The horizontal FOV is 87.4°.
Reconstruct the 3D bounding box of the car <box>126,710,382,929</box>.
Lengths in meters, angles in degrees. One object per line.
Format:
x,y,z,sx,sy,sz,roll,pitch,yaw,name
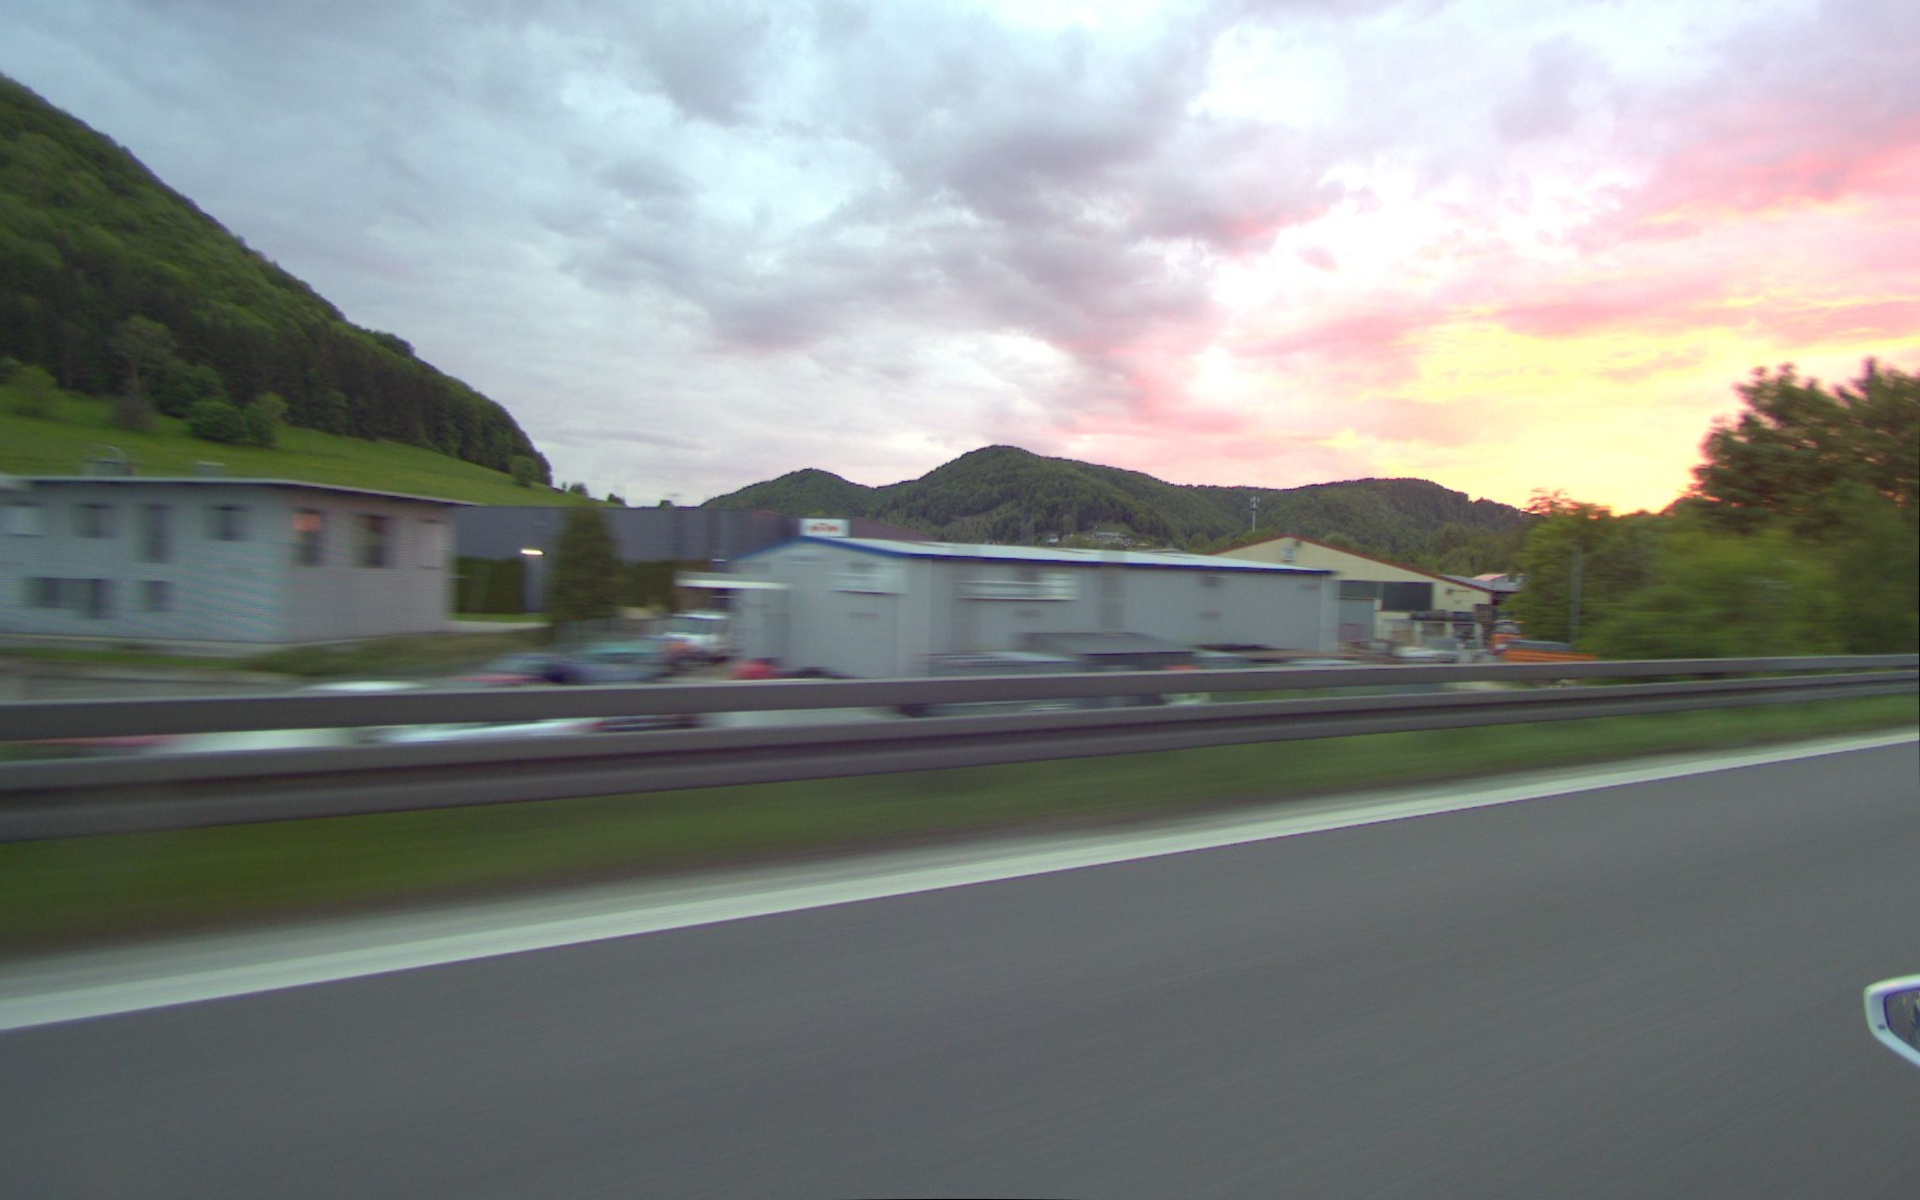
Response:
-8.220,2.405,12.085,1.748,1.715,3.975,2,0,-24,car
